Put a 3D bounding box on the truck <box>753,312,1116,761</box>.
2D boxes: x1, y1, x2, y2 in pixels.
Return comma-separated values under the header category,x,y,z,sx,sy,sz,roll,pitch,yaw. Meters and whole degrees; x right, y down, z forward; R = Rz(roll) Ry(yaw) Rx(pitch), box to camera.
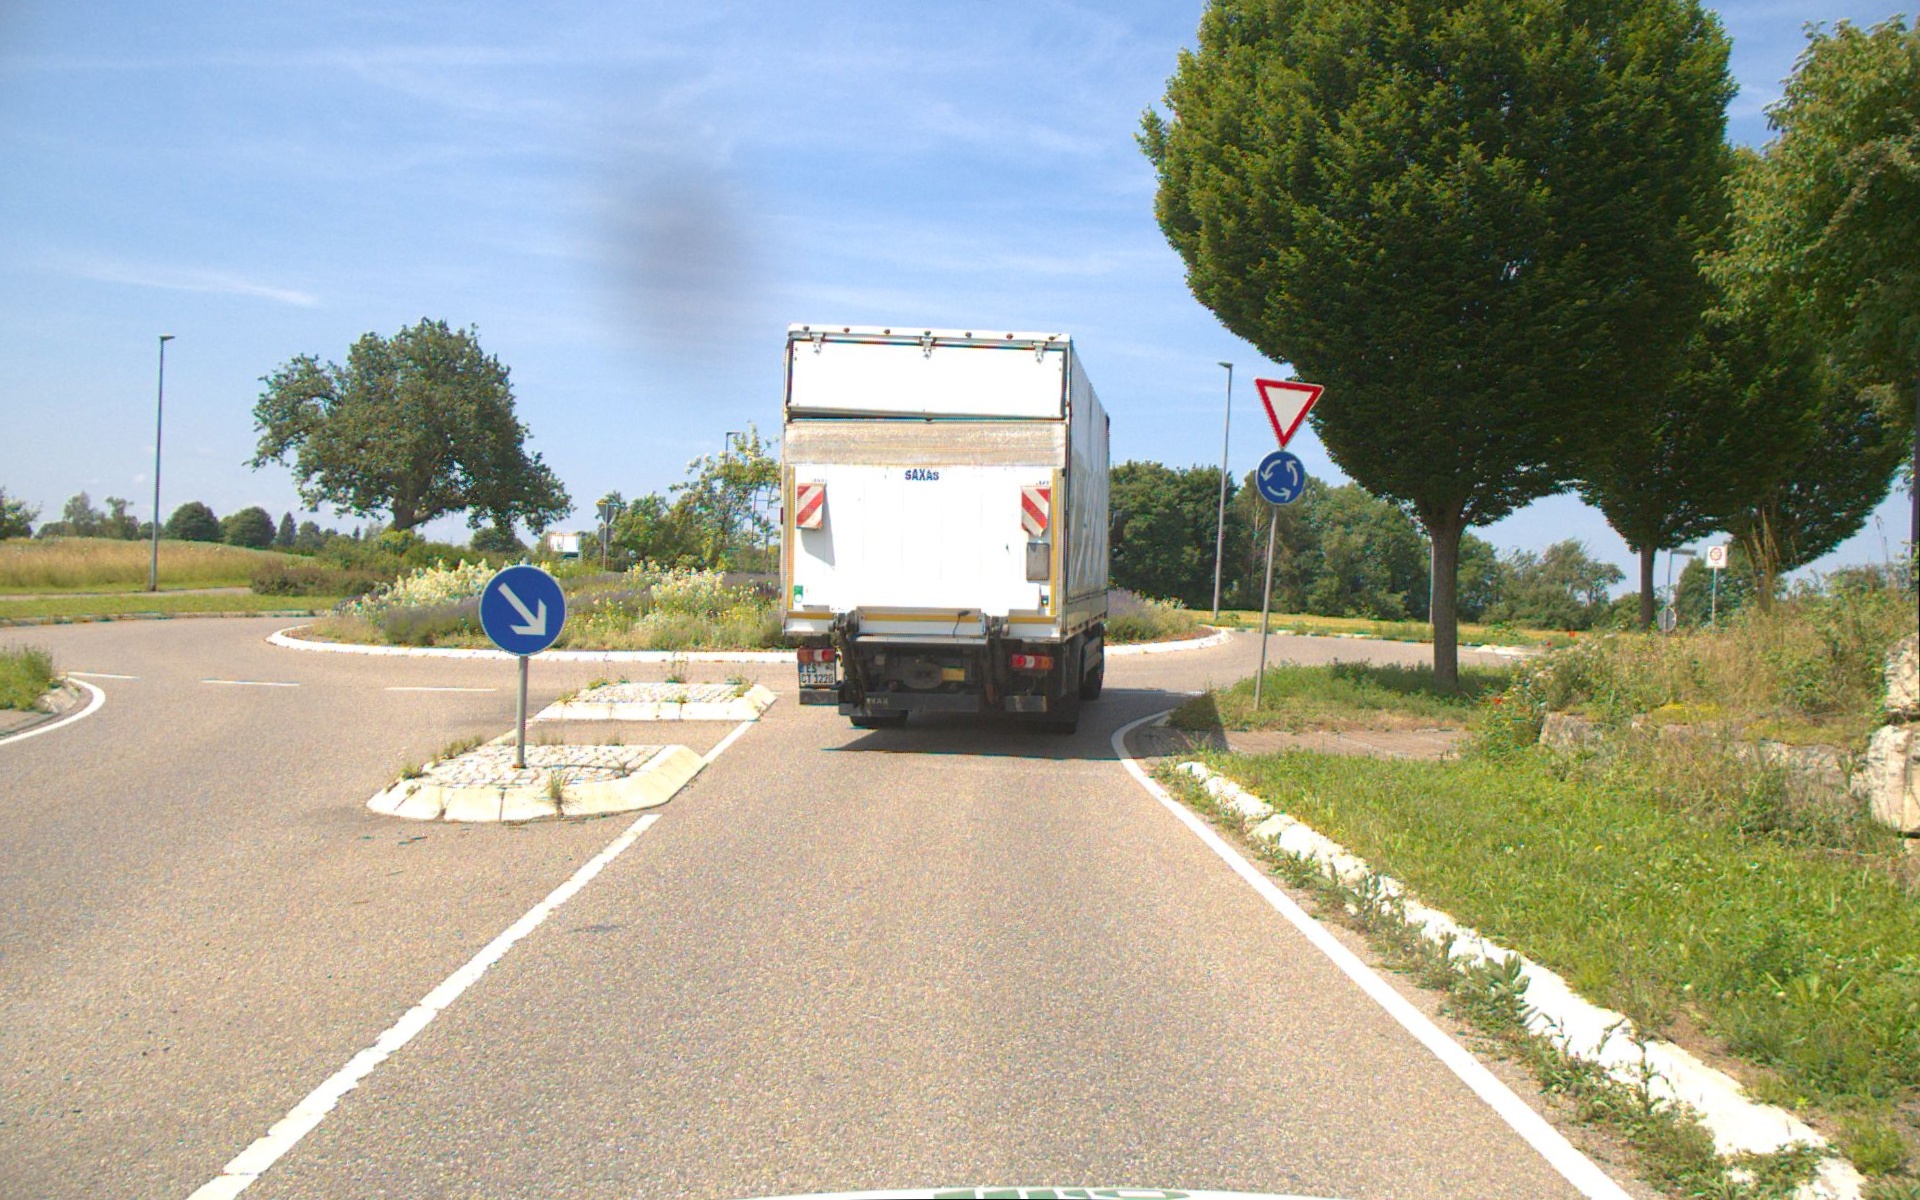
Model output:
category,x,y,z,sx,sy,sz,roll,pitch,yaw
truck,0.205,-0.627,18.631,2.708,3.734,9.390,1,1,7
